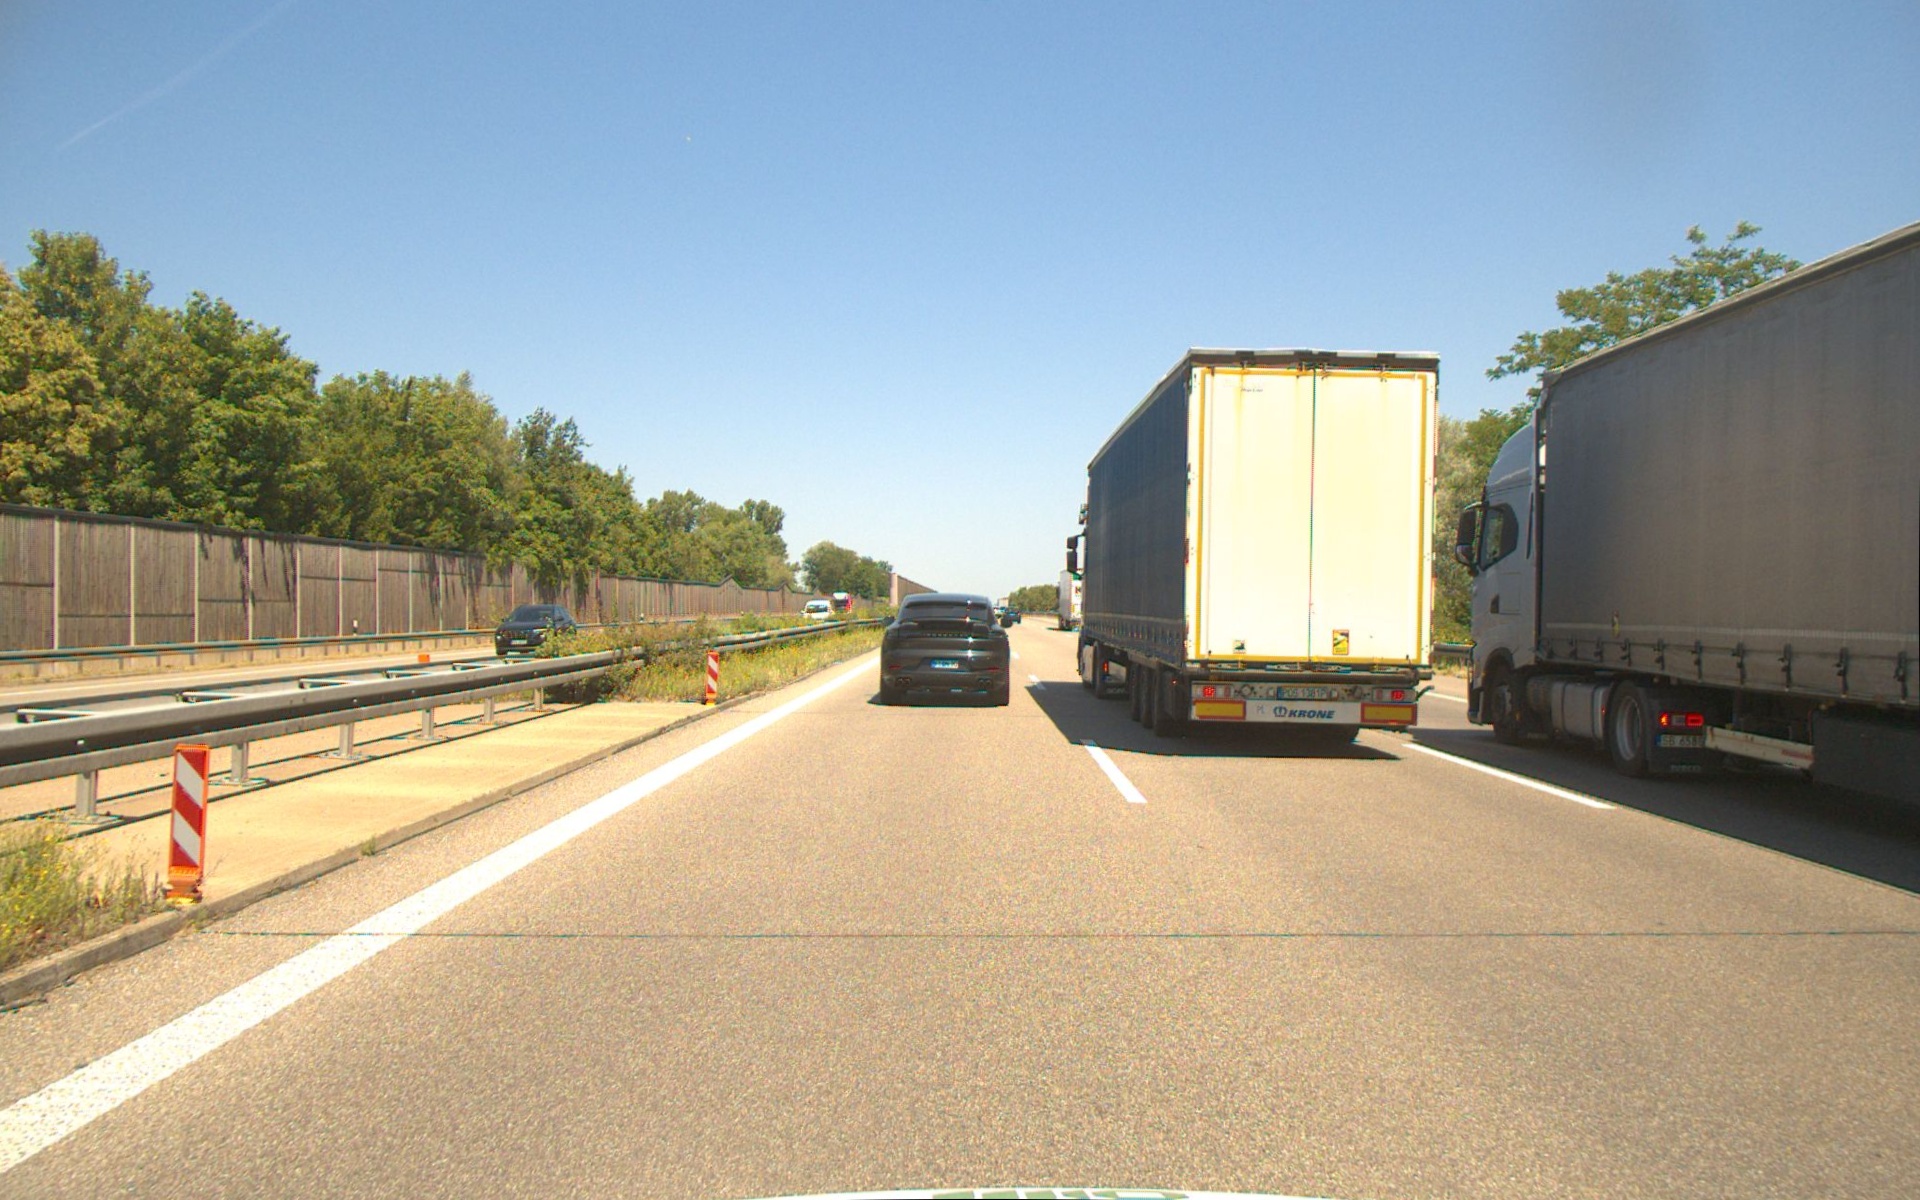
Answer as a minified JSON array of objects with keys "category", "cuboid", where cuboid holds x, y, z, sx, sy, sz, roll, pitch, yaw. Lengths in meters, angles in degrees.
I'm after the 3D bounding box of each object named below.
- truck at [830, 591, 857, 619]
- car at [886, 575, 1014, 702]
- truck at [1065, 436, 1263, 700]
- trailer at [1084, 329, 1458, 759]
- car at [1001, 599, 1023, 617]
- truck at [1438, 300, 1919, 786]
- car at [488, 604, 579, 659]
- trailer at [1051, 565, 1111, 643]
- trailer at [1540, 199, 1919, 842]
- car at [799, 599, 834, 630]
[{"category":"truck","cuboid":[-15.546,0.651,222.092,2.644,3.553,10.854,1,0,1]},{"category":"car","cuboid":[-0.174,0.560,25.898,1.842,1.823,3.999,0,0,-1]},{"category":"truck","cuboid":[3.493,-0.498,29.996,2.645,4.190,6.990,1,0,0]},{"category":"trailer","cuboid":[3.526,-0.529,22.367,2.645,4.190,12.130,1,0,0]},{"category":"car","cuboid":[4.673,0.724,149.708,1.864,1.612,4.304,0,-1,1]},{"category":"truck","cuboid":[7.537,-0.479,17.878,2.645,4.190,6.990,1,0,0]},{"category":"car","cuboid":[-14.027,1.008,54.636,1.842,1.722,4.548,0,0,-1]},{"category":"trailer","cuboid":[8.067,0.264,112.214,3.202,4.922,14.030,1,0,1]},{"category":"trailer","cuboid":[7.567,-0.507,11.010,2.645,4.190,13.239,1,0,0]},{"category":"car","cuboid":[-8.922,0.872,103.217,1.746,1.873,4.559,-1,0,0]}]
